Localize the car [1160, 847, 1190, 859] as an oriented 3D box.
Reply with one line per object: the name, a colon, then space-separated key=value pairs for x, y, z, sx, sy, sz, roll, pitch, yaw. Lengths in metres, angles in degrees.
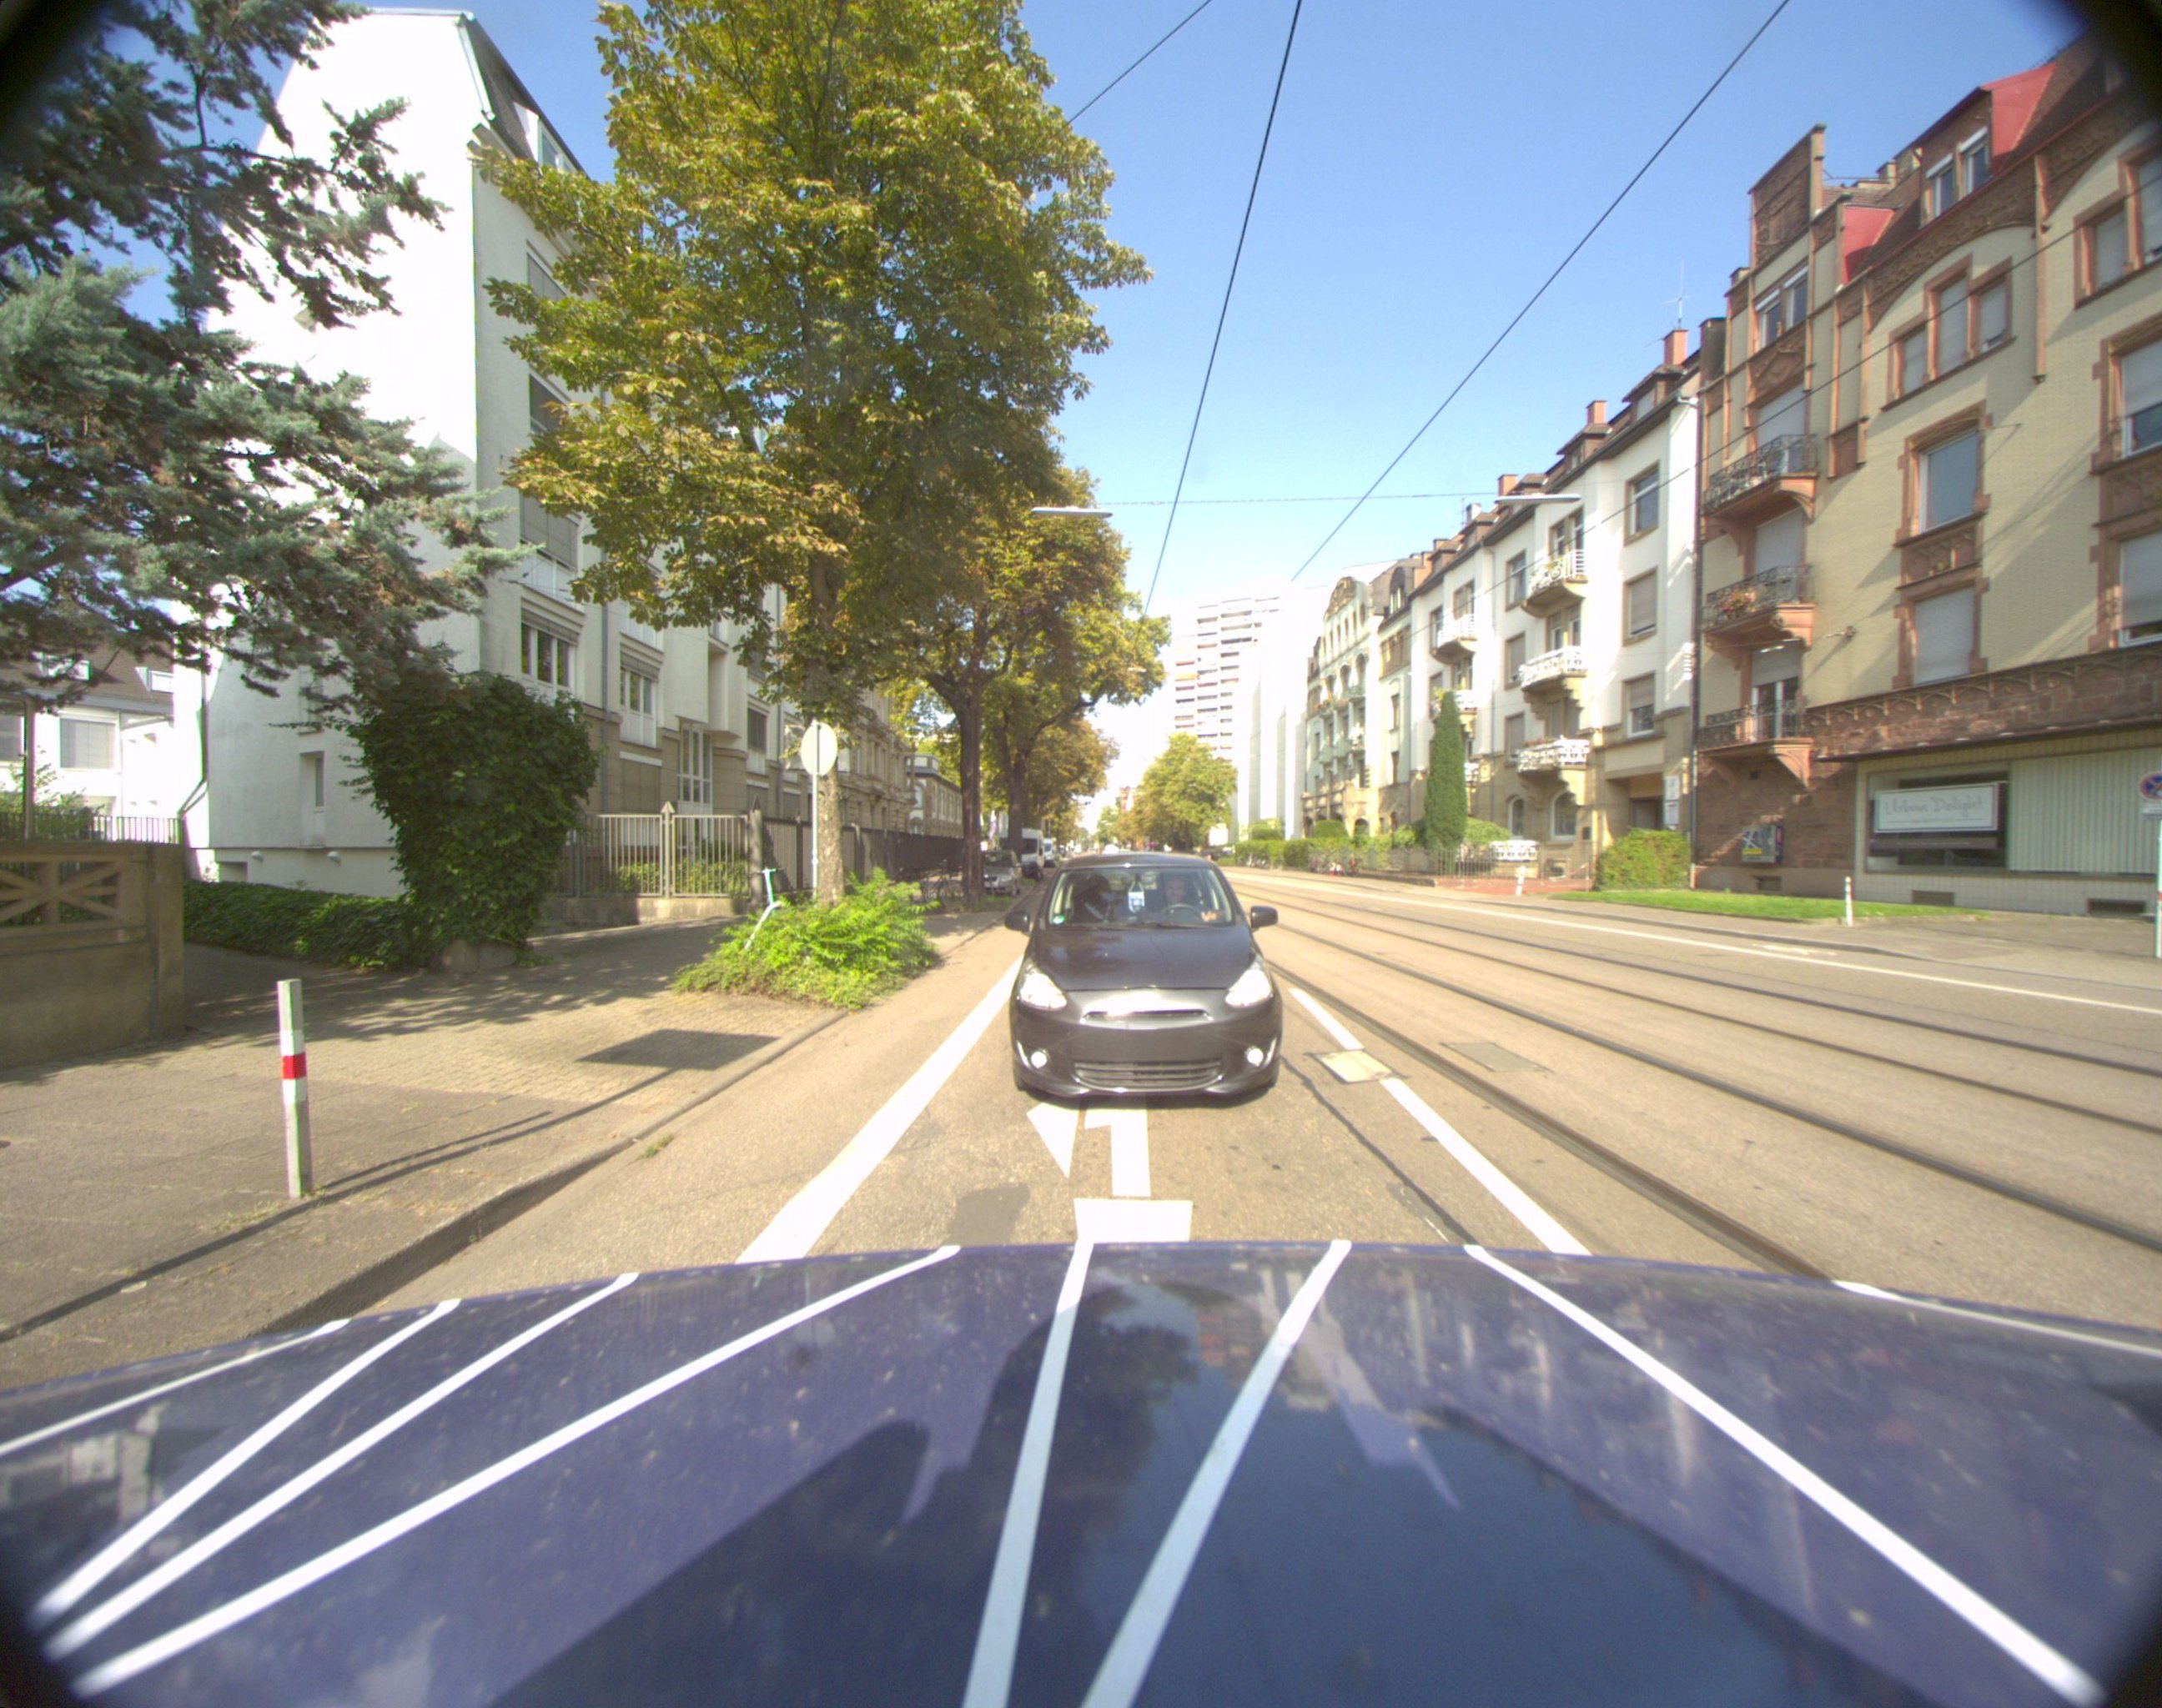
car: x=11.795 y=-0.100 z=95.333 sx=1.767 sy=1.518 sz=4.009 roll=1 pitch=1 yaw=41

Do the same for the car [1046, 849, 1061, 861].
car: x=-3.349 y=0.110 z=91.795 sx=1.757 sy=1.349 sz=3.787 roll=0 pitch=1 yaw=-2

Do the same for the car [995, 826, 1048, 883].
car: x=-2.763 y=-0.015 z=36.467 sx=2.051 sy=2.484 sz=6.227 roll=1 pitch=1 yaw=0

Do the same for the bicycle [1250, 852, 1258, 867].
bicycle: x=12.642 y=0.386 z=55.427 sx=0.425 sy=1.081 sz=1.677 roll=0 pitch=1 yaw=9

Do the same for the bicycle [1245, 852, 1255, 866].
bicycle: x=12.749 y=0.363 z=57.438 sx=0.425 sy=1.081 sz=1.676 roll=0 pitch=1 yaw=2

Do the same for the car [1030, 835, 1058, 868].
car: x=-3.020 y=-0.213 z=63.441 sx=1.998 sy=2.526 sz=5.867 roll=2 pitch=1 yaw=0

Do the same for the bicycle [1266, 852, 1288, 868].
bicycle: x=13.291 y=0.422 z=51.520 sx=1.397 sy=1.081 sz=0.425 roll=0 pitch=1 yaw=-18

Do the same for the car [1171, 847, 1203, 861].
car: x=12.101 y=0.021 z=86.487 sx=1.767 sy=1.518 sz=4.009 roll=1 pitch=1 yaw=41

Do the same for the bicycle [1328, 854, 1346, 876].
bicycle: x=12.786 y=0.546 z=37.980 sx=0.371 sy=1.081 sz=1.355 roll=0 pitch=1 yaw=-1

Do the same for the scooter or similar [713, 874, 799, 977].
scooter or similar: x=-4.185 y=0.898 z=9.852 sx=0.559 sy=1.190 sz=1.034 roll=3 pitch=2 yaw=5

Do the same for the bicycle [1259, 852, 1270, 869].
bicycle: x=12.664 y=0.441 z=52.522 sx=0.425 sy=1.081 sz=1.677 roll=0 pitch=1 yaw=4

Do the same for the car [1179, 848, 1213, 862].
car: x=12.691 y=0.077 z=83.638 sx=1.767 sy=1.518 sz=4.009 roll=1 pitch=1 yaw=41

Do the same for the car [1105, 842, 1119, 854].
car: x=5.343 y=-1.013 z=132.630 sx=1.999 sy=2.002 sz=4.857 roll=0 pitch=1 yaw=-3

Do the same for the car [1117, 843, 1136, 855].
car: x=5.968 y=-0.628 z=100.611 sx=1.877 sy=1.446 sz=4.543 roll=3 pitch=0 yaw=-4

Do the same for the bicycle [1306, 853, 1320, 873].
bicycle: x=12.973 y=0.506 z=42.510 sx=0.371 sy=1.081 sz=1.355 roll=0 pitch=1 yaw=-1

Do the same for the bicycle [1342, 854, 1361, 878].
bicycle: x=12.887 y=0.571 z=36.207 sx=0.371 sy=1.081 sz=1.487 roll=0 pitch=1 yaw=-1

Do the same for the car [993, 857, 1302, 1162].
car: x=0.342 y=0.831 z=6.200 sx=1.611 sy=1.515 sz=4.356 roll=-1 pitch=1 yaw=0

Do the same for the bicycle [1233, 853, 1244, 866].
bicycle: x=12.606 y=0.424 z=60.771 sx=0.425 sy=0.972 sz=1.769 roll=0 pitch=1 yaw=-2

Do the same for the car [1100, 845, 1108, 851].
car: x=5.582 y=-1.364 z=184.731 sx=1.701 sy=1.395 sz=4.644 roll=-1 pitch=1 yaw=-2

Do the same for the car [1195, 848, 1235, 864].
car: x=12.922 y=0.169 z=73.333 sx=4.008 sy=1.518 sz=1.767 roll=0 pitch=1 yaw=-44

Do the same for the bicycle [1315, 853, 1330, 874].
bicycle: x=12.936 y=0.514 z=40.740 sx=0.371 sy=1.081 sz=1.355 roll=0 pitch=1 yaw=-1

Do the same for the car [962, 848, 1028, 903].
car: x=-2.712 y=0.628 z=24.740 sx=1.611 sy=1.515 sz=4.356 roll=3 pitch=1 yaw=0

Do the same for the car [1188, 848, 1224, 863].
car: x=12.554 y=0.144 z=76.173 sx=1.767 sy=1.518 sz=4.009 roll=1 pitch=1 yaw=41

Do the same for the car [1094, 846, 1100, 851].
car: x=4.698 y=-1.651 z=228.988 sx=1.757 sy=1.349 sz=3.788 roll=0 pitch=1 yaw=1

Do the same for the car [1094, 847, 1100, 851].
car: x=5.015 y=-1.622 z=240.383 sx=1.757 sy=1.349 sz=3.787 roll=0 pitch=1 yaw=-2

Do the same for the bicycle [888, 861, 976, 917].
bicycle: x=-3.325 y=0.774 z=17.049 sx=1.846 sy=1.160 sz=0.503 roll=2 pitch=5 yaw=-40

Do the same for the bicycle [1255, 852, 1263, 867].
bicycle: x=12.799 y=0.406 z=54.618 sx=0.425 sy=1.081 sz=1.677 roll=0 pitch=1 yaw=9

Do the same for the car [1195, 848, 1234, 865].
car: x=12.253 y=0.243 z=69.541 sx=1.767 sy=1.518 sz=4.009 roll=1 pitch=1 yaw=41
